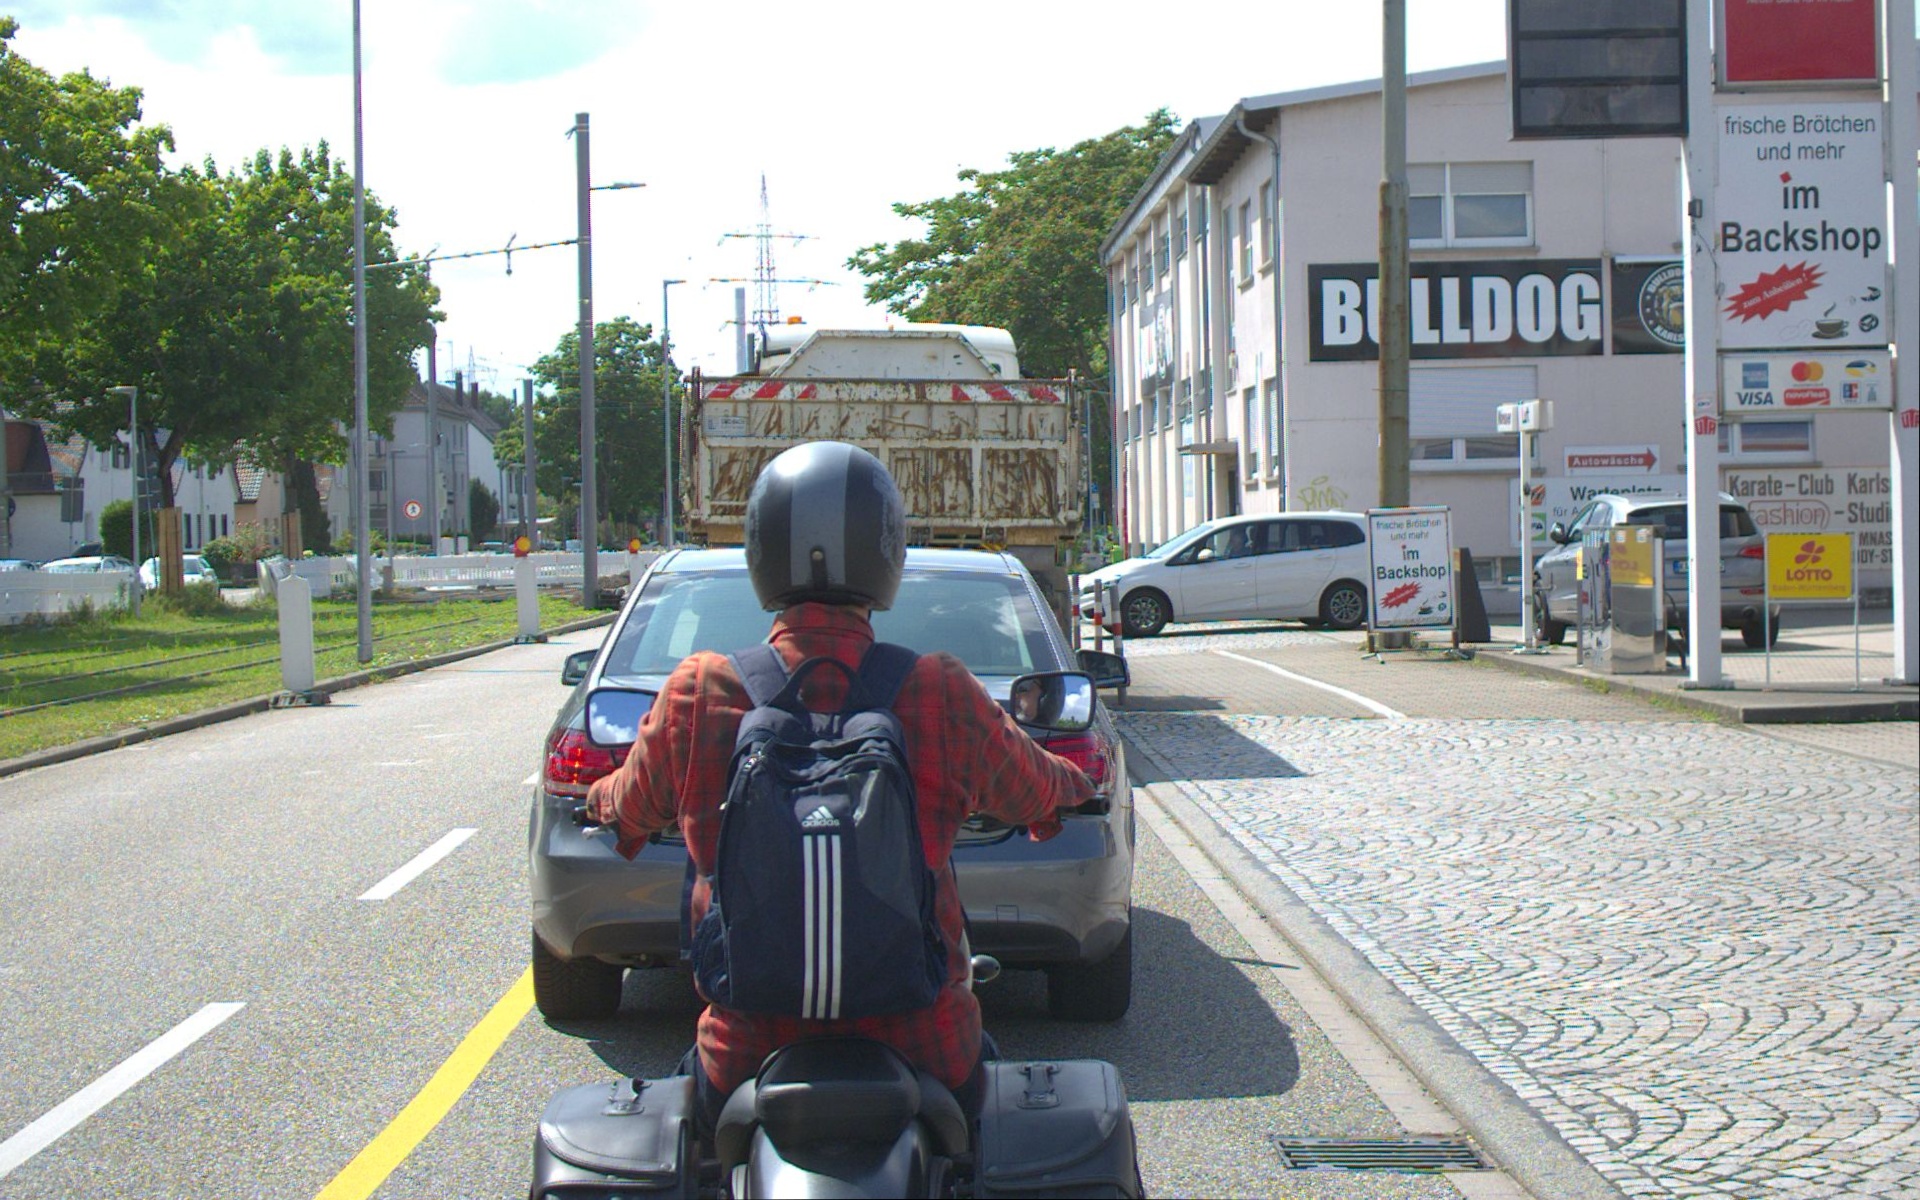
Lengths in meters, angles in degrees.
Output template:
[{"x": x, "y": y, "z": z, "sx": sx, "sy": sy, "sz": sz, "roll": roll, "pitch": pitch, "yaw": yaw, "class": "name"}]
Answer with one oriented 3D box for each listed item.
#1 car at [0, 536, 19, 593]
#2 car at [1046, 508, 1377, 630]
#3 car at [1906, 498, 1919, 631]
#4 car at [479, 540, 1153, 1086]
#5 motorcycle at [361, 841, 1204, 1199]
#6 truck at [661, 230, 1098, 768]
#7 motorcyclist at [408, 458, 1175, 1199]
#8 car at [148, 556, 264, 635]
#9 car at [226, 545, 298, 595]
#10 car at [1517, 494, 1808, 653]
[{"x": -30.043, "y": -1.067, "z": 104.408, "sx": 1.776, "sy": 1.717, "sz": 4.128, "roll": -1, "pitch": 1, "yaw": 0, "class": "car"}, {"x": 3.423, "y": -0.439, "z": 47.089, "sx": 4.229, "sy": 1.537, "sz": 1.673, "roll": -1, "pitch": 1, "yaw": -8, "class": "car"}, {"x": 11.733, "y": -0.384, "z": 37.091, "sx": 1.806, "sy": 1.498, "sz": 3.834, "roll": -1, "pitch": 1, "yaw": -3, "class": "car"}, {"x": -0.418, "y": 0.548, "z": 11.401, "sx": 1.823, "sy": 1.447, "sz": 4.000, "roll": 1, "pitch": 1, "yaw": -1, "class": "car"}, {"x": -0.214, "y": 0.954, "z": 5.340, "sx": 0.979, "sy": 0.894, "sz": 2.653, "roll": -1, "pitch": 1, "yaw": -1, "class": "motorcycle"}, {"x": -0.543, "y": -0.717, "z": 25.365, "sx": 2.638, "sy": 3.285, "sz": 8.057, "roll": -1, "pitch": 1, "yaw": -1, "class": "truck"}, {"x": -0.218, "y": 0.612, "z": 5.029, "sx": 0.979, "sy": 1.597, "sz": 1.088, "roll": -1, "pitch": 1, "yaw": -1, "class": "motorcyclist"}, {"x": -17.496, "y": -0.136, "z": 79.962, "sx": 1.776, "sy": 1.717, "sz": 4.128, "roll": -1, "pitch": 1, "yaw": 0, "class": "car"}, {"x": -25.417, "y": -1.106, "z": 125.244, "sx": 1.776, "sy": 1.717, "sz": 4.128, "roll": -1, "pitch": 1, "yaw": 0, "class": "car"}, {"x": 7.378, "y": -0.309, "z": 36.522, "sx": 1.667, "sy": 1.557, "sz": 4.245, "roll": -1, "pitch": 1, "yaw": -8, "class": "car"}]
